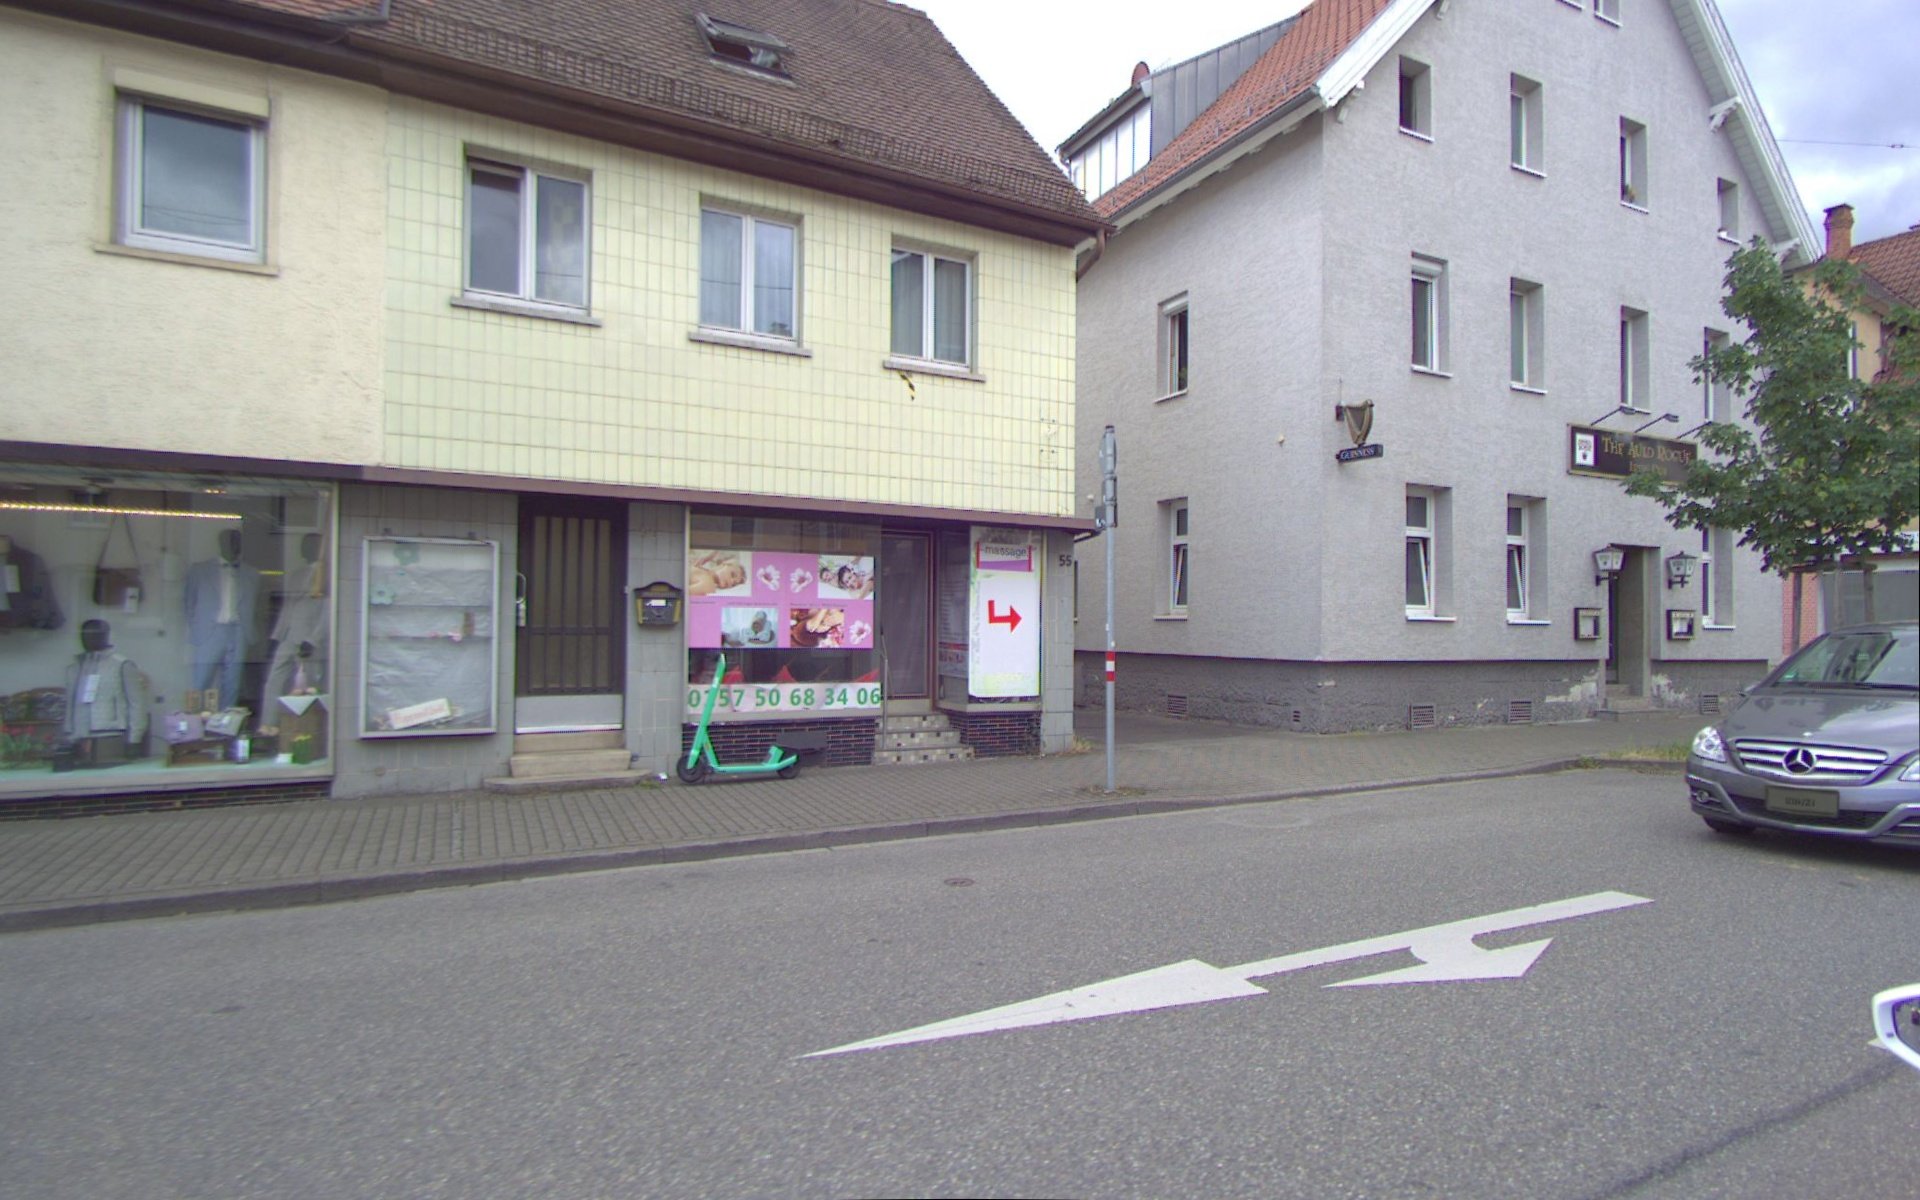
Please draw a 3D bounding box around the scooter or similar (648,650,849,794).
[{"bbox_3d":[-1.899,1.061,9.093,1.699,1.185,0.526,1,0,-27],"label":"scooter or similar"}]

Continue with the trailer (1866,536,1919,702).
[{"bbox_3d":[22.347,0.432,20.372,7.015,3.262,2.504,1,0,-15],"label":"trailer"}]

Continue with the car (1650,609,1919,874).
[{"bbox_3d":[7.223,0.910,7.433,4.023,1.572,1.774,1,-4,-27],"label":"car"}]
